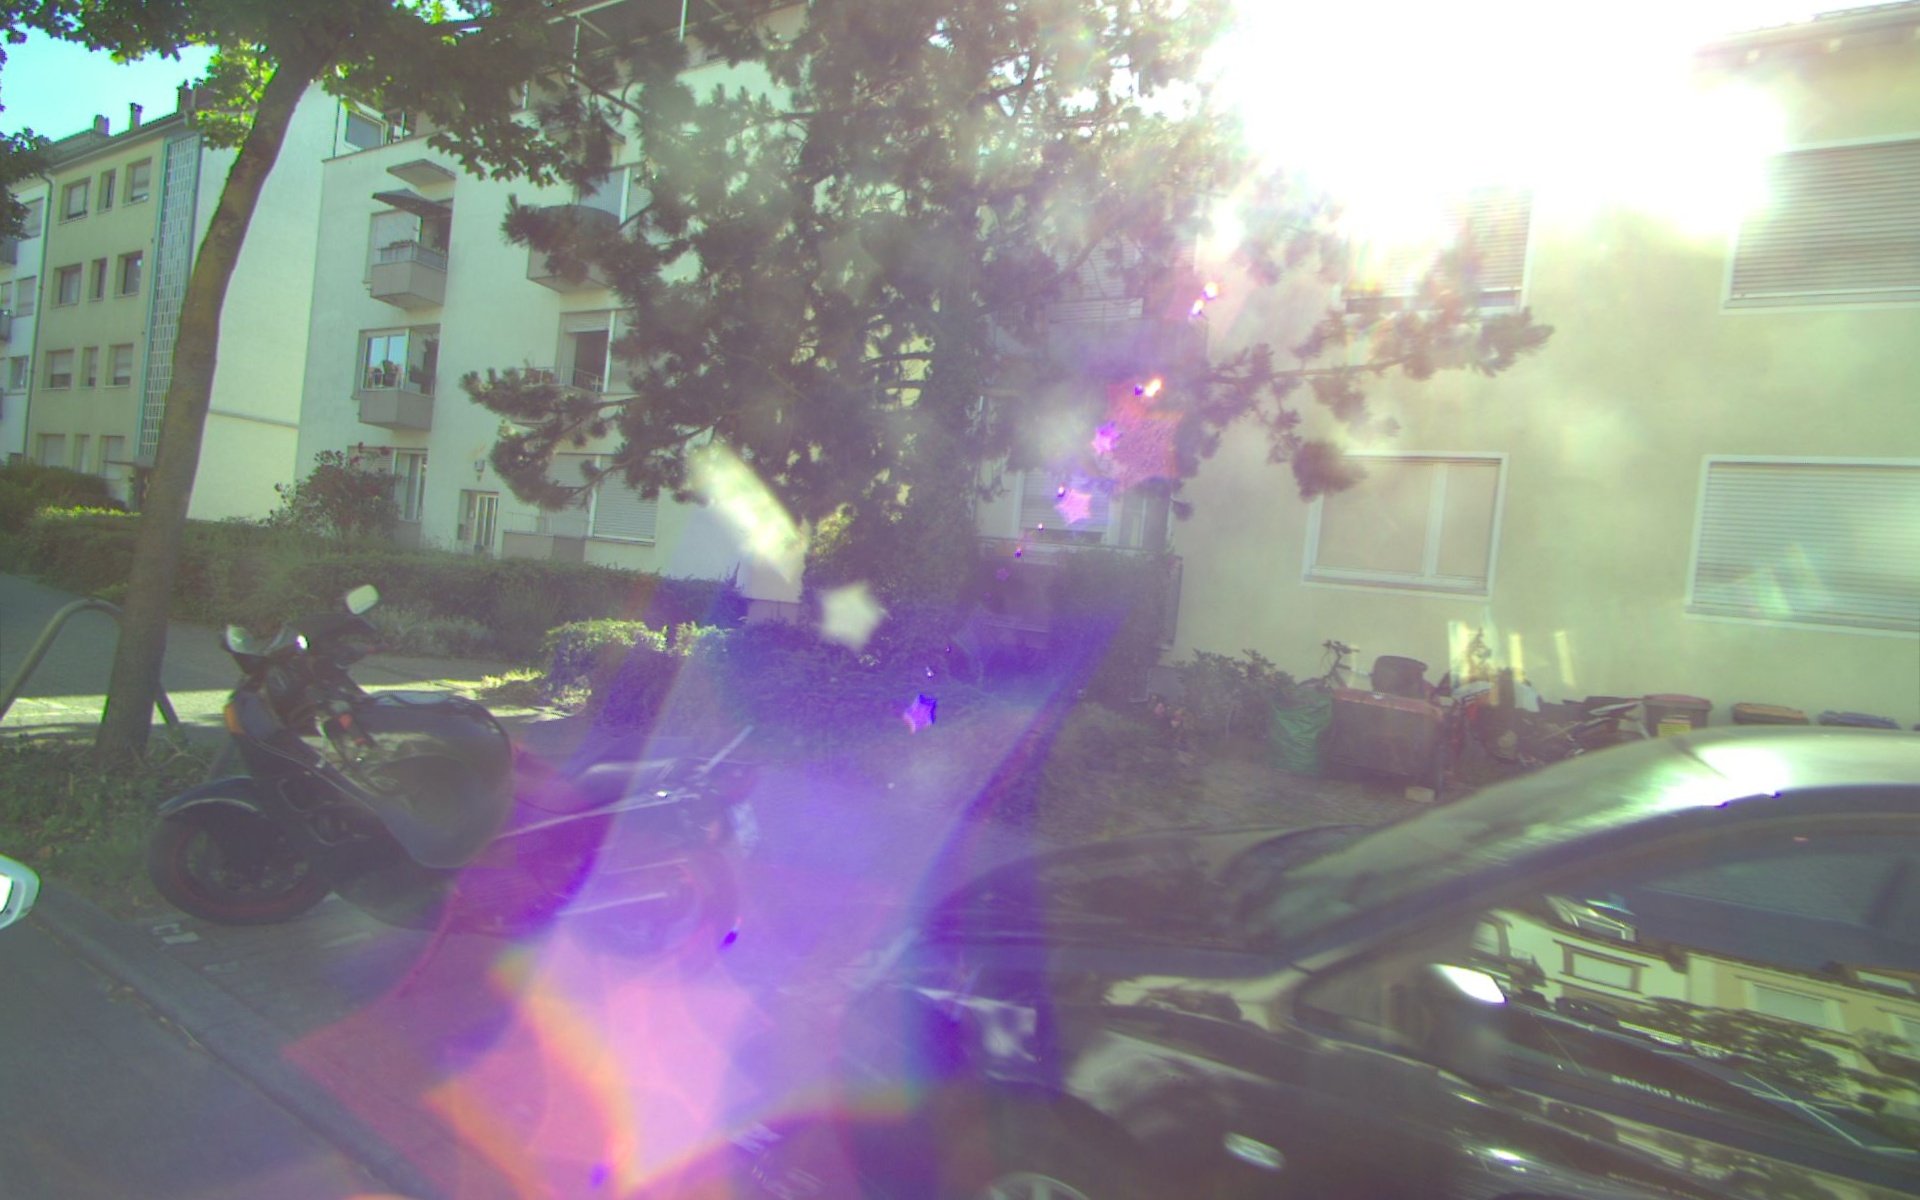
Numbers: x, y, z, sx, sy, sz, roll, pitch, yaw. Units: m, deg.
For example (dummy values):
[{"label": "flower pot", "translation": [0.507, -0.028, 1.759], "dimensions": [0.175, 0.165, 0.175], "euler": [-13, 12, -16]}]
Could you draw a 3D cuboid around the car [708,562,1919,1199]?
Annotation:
[{"label": "car", "translation": [1.432, 0.897, 1.920], "dimensions": [3.589, 1.518, 1.620], "euler": [7, 1, 33]}]

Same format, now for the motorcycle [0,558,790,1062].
[{"label": "motorcycle", "translation": [-1.901, 0.636, 3.480], "dimensions": [2.385, 1.288, 0.699], "euler": [6, 2, 4]}]

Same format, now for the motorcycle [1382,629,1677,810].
[{"label": "motorcycle", "translation": [5.658, 1.134, 10.143], "dimensions": [2.385, 1.393, 0.636], "euler": [7, 2, 32]}]

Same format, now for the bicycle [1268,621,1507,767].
[{"label": "bicycle", "translation": [4.948, 1.045, 11.758], "dimensions": [2.385, 1.320, 0.598], "euler": [7, 2, 32]}]
